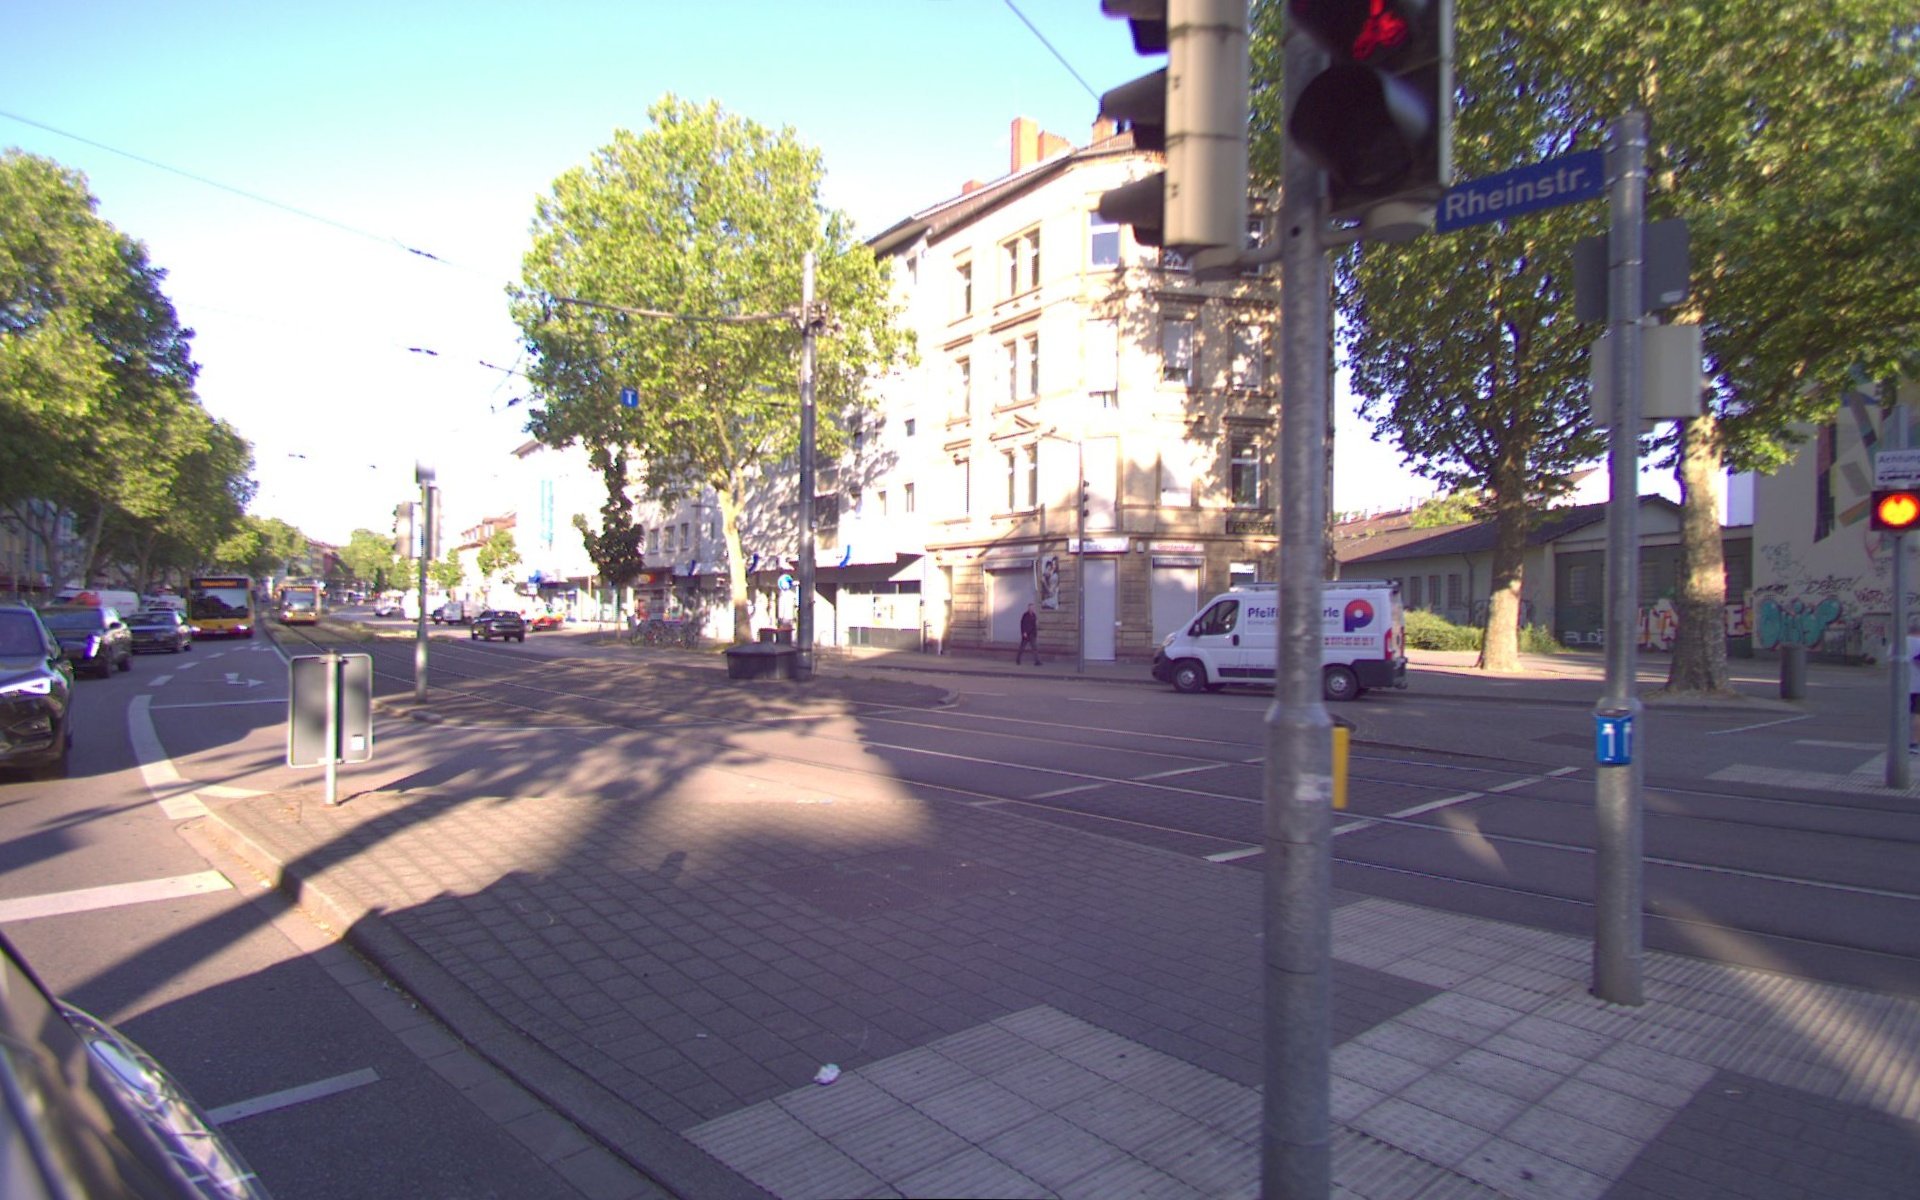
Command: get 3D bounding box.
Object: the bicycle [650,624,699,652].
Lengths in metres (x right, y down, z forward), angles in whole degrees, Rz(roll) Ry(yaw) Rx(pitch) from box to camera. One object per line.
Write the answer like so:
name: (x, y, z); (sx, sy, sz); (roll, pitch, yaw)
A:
bicycle: (-12.026, 1.584, 42.669); (1.869, 1.133, 0.653); (0, 0, -38)

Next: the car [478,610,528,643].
car: (-21.943, 1.243, 48.513); (1.859, 1.483, 4.220); (0, -1, -29)

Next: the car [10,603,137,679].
car: (-20.389, 0.892, 23.429); (1.632, 1.593, 4.011); (1, -1, -33)

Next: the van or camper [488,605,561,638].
van or camper: (-28.082, 1.374, 65.476); (1.931, 1.912, 4.797); (-1, 0, 12)

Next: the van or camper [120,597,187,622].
van or camper: (-83.267, 1.017, 104.593); (1.980, 2.488, 5.441); (0, -1, 12)

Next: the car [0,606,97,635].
car: (-50.965, 1.144, 56.536); (1.644, 1.534, 3.981); (2, -1, 15)

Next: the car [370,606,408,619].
car: (-74.177, 1.653, 131.523); (1.764, 1.501, 3.874); (-1, 0, 32)

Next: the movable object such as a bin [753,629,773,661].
movable object such as a bin: (-6.895, 1.580, 35.387); (0.538, 1.102, 0.646); (0, -2, 5)

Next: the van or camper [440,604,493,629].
van or camper: (-41.999, 1.384, 86.255); (1.780, 2.004, 4.437); (-1, 0, 10)

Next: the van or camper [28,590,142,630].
van or camper: (-56.661, 0.635, 65.706); (1.981, 2.488, 5.437); (0, -1, 14)

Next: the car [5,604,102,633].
car: (-52.873, 1.090, 59.130); (1.644, 1.575, 3.981); (2, -1, 15)

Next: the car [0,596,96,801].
car: (-9.364, 0.800, 9.460); (1.780, 1.660, 4.008); (1, -1, -38)

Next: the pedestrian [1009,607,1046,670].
pedestrian: (1.982, 1.104, 29.645); (0.610, 1.801, 0.973); (-1, 0, -31)

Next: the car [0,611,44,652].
car: (-38.571, 1.215, 39.495); (1.788, 1.618, 3.991); (0, -1, 7)

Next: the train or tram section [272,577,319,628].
train or tram section: (-49.396, 0.210, 75.437); (2.595, 3.476, 11.162); (-1, 0, -32)

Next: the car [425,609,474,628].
car: (-46.248, 1.669, 91.722); (1.859, 1.598, 3.986); (-1, 0, 11)

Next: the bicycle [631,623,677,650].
bicycle: (-13.521, 1.591, 44.703); (1.869, 1.133, 0.535); (0, 0, -38)

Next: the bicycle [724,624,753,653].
bicycle: (-9.139, 1.553, 41.633); (0.501, 1.133, 1.916); (0, 0, -34)

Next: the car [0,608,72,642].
car: (-42.839, 1.113, 45.657); (1.642, 1.447, 3.985); (2, -1, 11)

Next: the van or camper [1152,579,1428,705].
van or camper: (6.757, 0.837, 20.875); (5.084, 2.337, 2.151); (0, -3, 31)

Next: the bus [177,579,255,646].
bus: (-37.955, 0.464, 51.688); (2.827, 3.001, 12.269); (-2, 2, -36)

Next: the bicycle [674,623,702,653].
bicycle: (-10.897, 1.498, 40.457); (0.501, 1.133, 1.916); (0, 0, -34)

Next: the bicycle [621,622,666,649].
bicycle: (-14.270, 1.594, 45.713); (1.869, 1.133, 0.535); (0, 0, -38)

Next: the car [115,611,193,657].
car: (-27.484, 1.113, 34.628); (1.632, 1.497, 4.172); (1, -1, -32)

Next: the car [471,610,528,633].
car: (-34.111, 1.573, 75.109); (1.749, 1.501, 4.441); (-1, 0, 8)

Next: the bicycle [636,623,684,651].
bicycle: (-13.048, 1.592, 44.053); (1.869, 1.133, 0.653); (0, 0, -38)

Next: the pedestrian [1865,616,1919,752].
pedestrian: (10.813, 0.941, 11.550); (0.590, 1.515, 0.517); (0, -1, 26)

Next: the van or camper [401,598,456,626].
van or camper: (-54.145, 1.193, 103.271); (1.973, 2.687, 6.393); (-1, 0, 2)

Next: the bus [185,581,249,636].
bus: (-45.150, 0.376, 61.550); (2.827, 3.001, 12.269); (-2, 2, -36)
